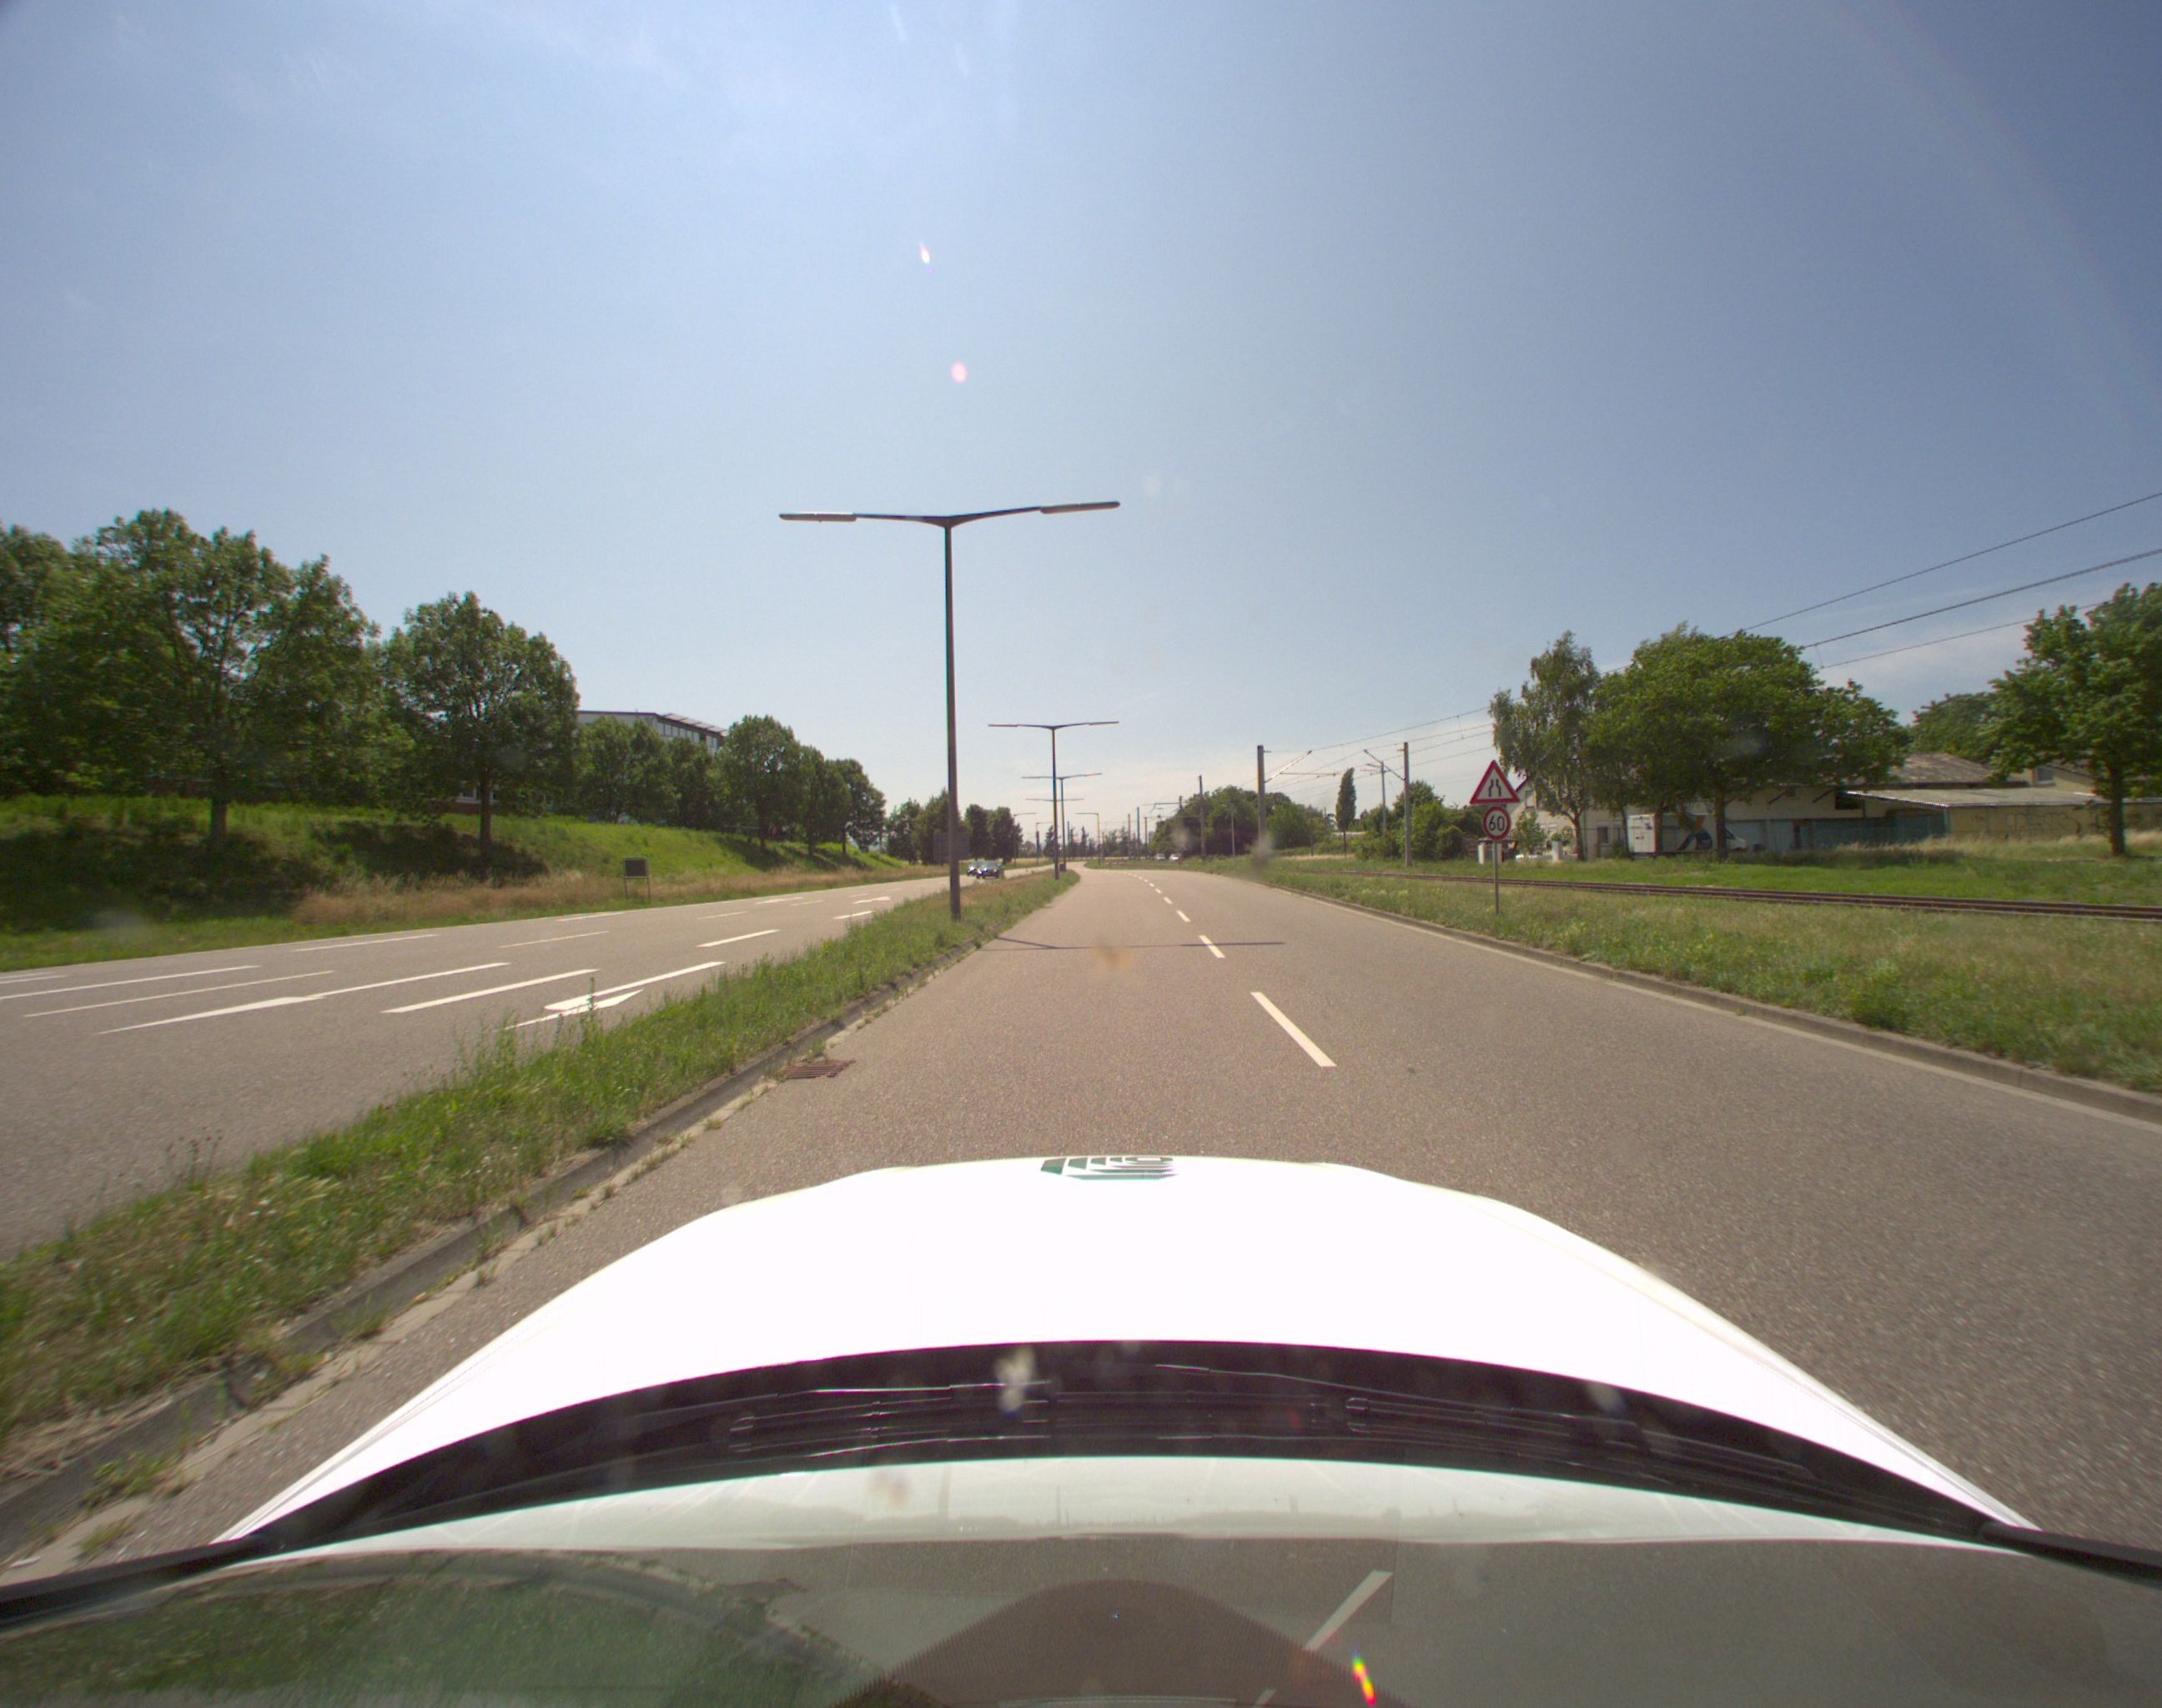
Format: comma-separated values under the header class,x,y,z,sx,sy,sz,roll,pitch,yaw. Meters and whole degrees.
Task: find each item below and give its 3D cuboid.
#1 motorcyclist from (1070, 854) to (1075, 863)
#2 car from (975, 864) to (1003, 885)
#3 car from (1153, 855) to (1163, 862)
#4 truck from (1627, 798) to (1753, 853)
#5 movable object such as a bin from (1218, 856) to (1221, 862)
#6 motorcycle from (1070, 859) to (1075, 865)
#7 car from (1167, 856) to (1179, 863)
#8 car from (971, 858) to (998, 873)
class,x,y,z,sx,sy,sz,roll,pitch,yaw
motorcyclist,-2.266,1.315,218.673,1.225,2.351,1.108,0,-1,4
car,-7.275,1.615,65.041,1.686,1.492,4.000,-2,0,1
car,15.525,0.991,164.127,1.668,1.397,3.646,0,-1,-3
truck,35.423,-1.644,47.450,5.834,2.843,2.315,-3,-1,-7
movable object such as a bin,22.698,0.818,133.585,0.522,1.050,0.500,-2,-1,8
motorcycle,-2.266,2.020,218.629,0.985,1.581,3.404,0,-1,4
car,15.882,0.920,140.903,1.560,1.179,3.074,-2,0,-5
car,-9.280,1.115,78.488,1.986,1.360,4.666,-2,0,1
